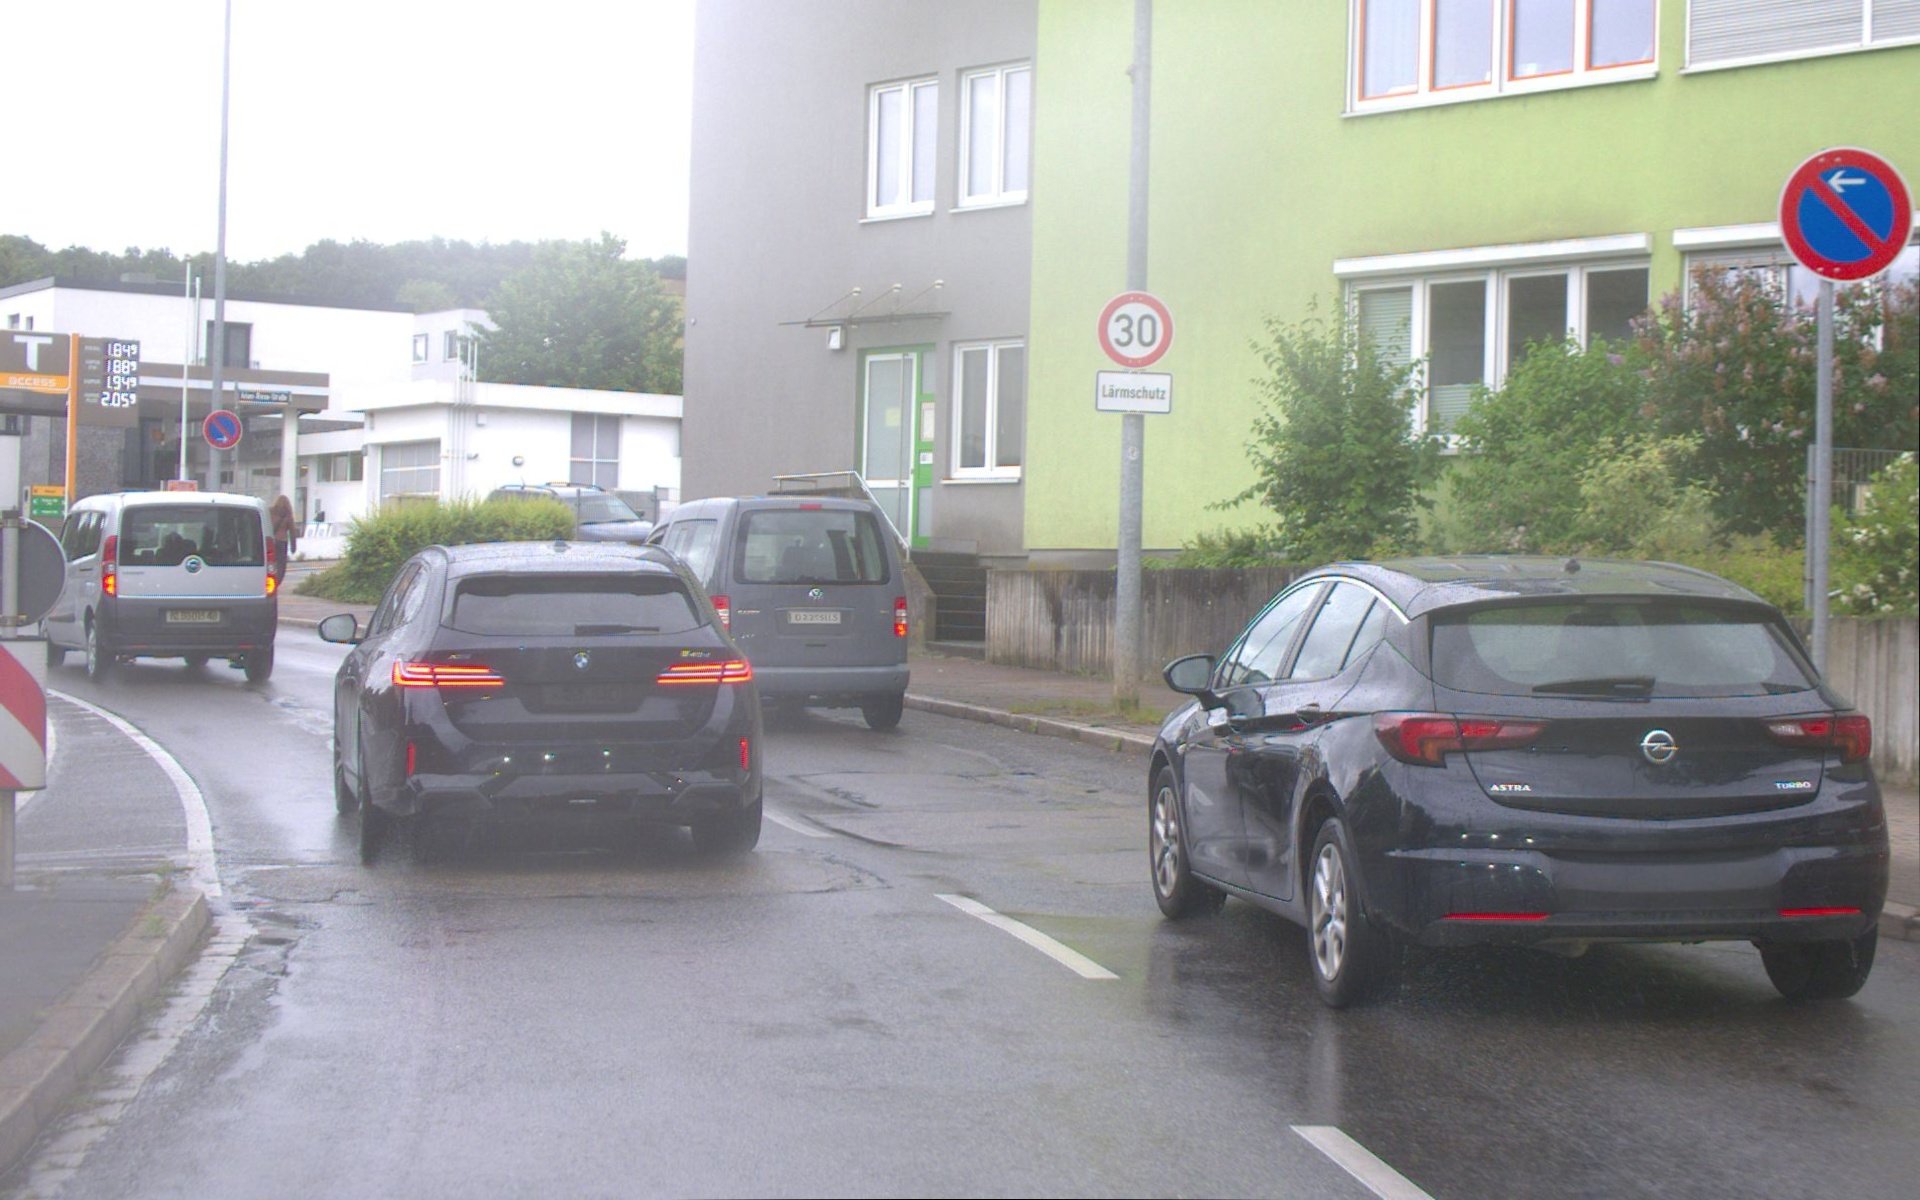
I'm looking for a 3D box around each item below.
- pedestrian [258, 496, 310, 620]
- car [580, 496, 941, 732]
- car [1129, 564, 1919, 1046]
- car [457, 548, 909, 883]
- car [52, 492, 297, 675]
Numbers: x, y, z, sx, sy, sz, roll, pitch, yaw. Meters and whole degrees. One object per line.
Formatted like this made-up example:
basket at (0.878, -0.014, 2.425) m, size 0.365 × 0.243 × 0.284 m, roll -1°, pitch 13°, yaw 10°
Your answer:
pedestrian at (-11.019, -0.682, 56.035) m, size 0.715 × 2.007 × 0.615 m, roll 1°, pitch -1°, yaw -22°
car at (-1.695, 0.120, 27.825) m, size 1.838 × 1.761 × 4.001 m, roll 1°, pitch 0°, yaw -20°
car at (1.828, 0.606, 12.456) m, size 1.756 × 1.444 × 4.001 m, roll 1°, pitch 1°, yaw -7°
car at (-1.516, 0.533, 17.341) m, size 1.993 × 1.479 × 4.001 m, roll 1°, pitch 0°, yaw -8°
car at (-8.021, -0.145, 34.854) m, size 1.993 × 1.732 × 4.001 m, roll 1°, pitch 0°, yaw -19°
